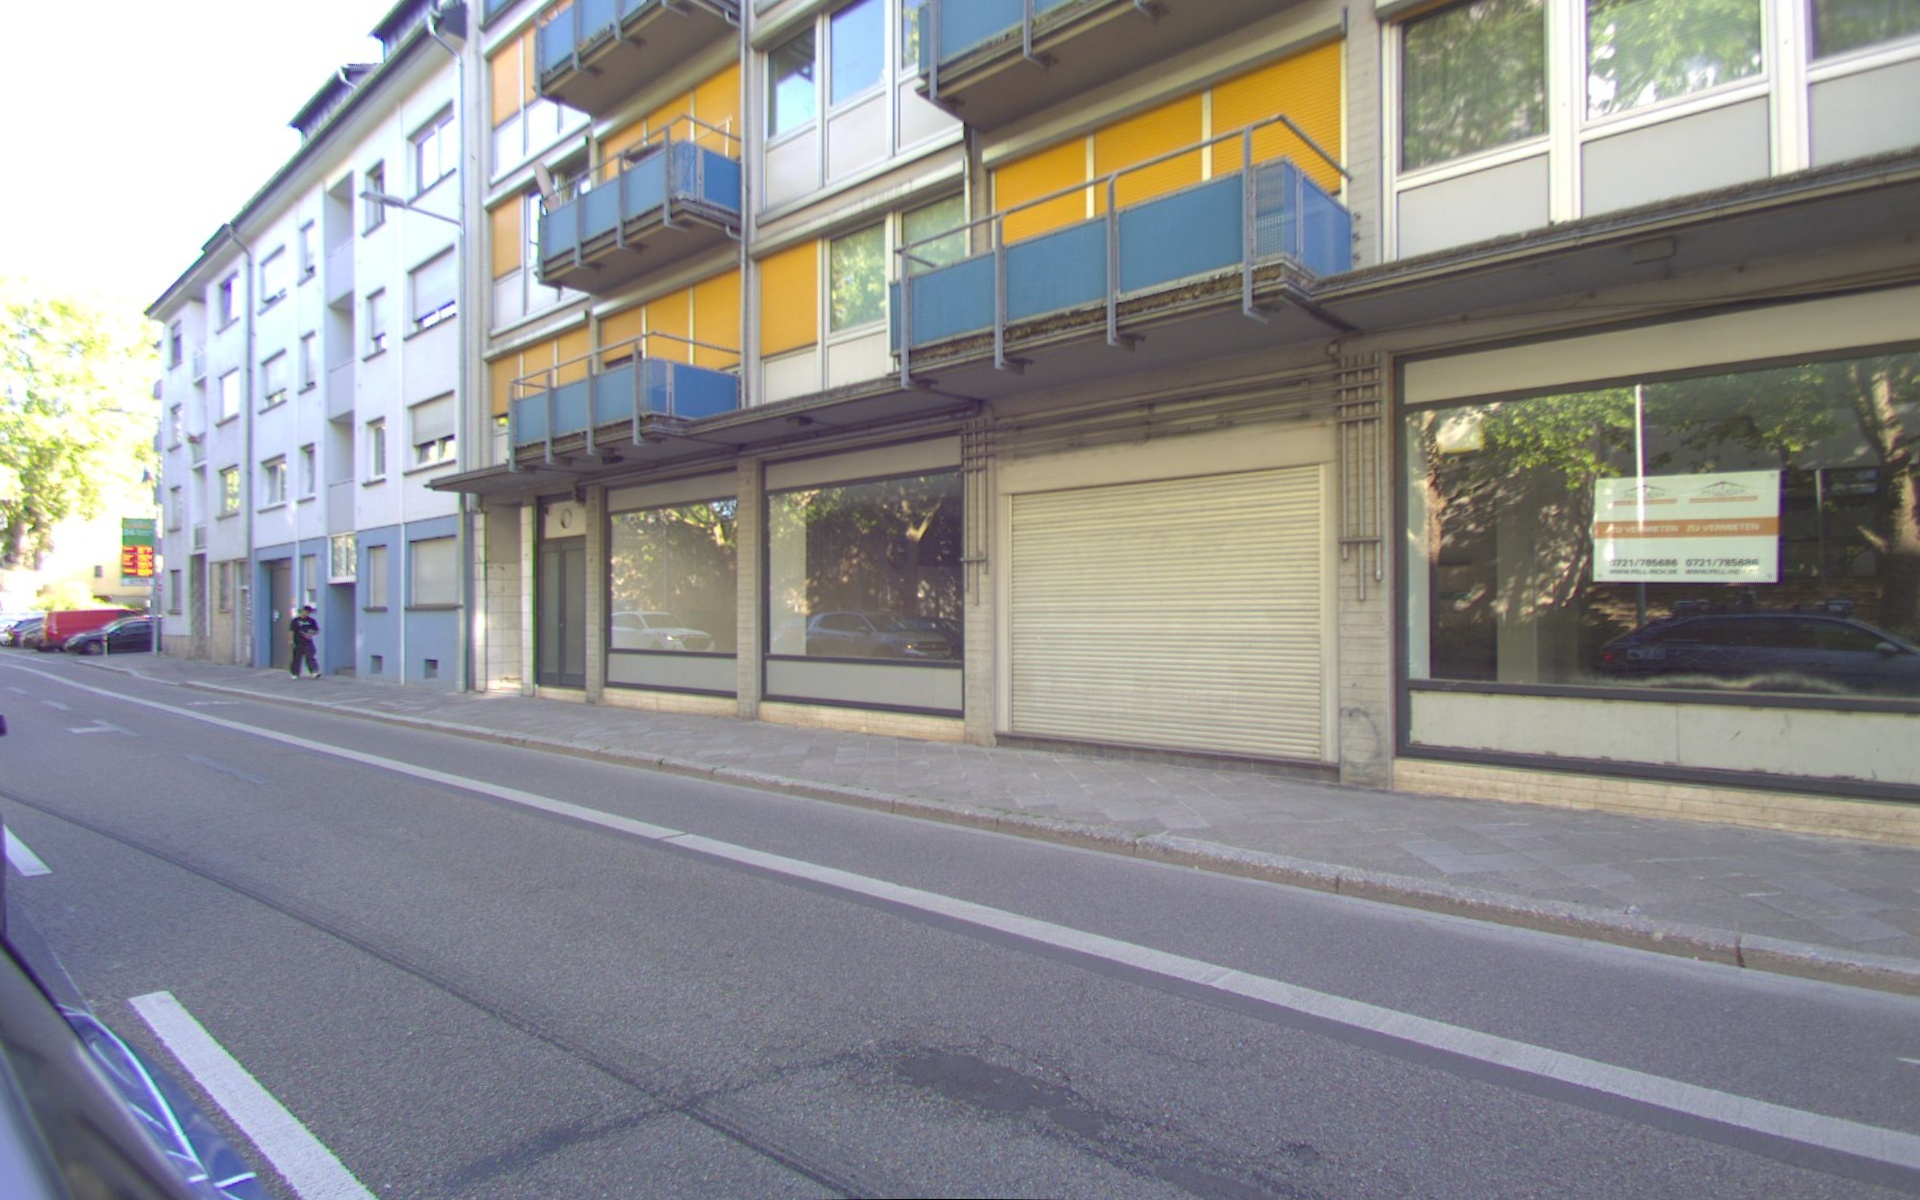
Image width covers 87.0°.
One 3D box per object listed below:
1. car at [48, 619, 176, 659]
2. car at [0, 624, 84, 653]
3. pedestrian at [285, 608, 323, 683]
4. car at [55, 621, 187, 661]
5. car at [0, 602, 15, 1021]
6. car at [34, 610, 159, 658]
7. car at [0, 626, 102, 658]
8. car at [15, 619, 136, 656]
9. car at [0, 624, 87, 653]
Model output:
[{"bbox_3d":[-38.196,1.725,45.665,1.652,1.480,4.201,-1,1,41],"label":"car"},{"bbox_3d":[-55.887,2.292,61.206,1.652,1.480,4.201,-1,1,41],"label":"car"},{"bbox_3d":[-15.284,1.053,23.574,0.655,1.708,0.604,-2,-1,41],"label":"pedestrian"},{"bbox_3d":[-36.503,1.738,44.101,1.652,1.411,4.201,-1,1,41],"label":"car"},{"bbox_3d":[-5.652,0.796,4.412,4.300,1.510,1.826,-1,-1,41],"label":"car"},{"bbox_3d":[-40.577,1.553,47.627,1.817,1.933,4.202,-1,1,40],"label":"car"},{"bbox_3d":[-50.473,2.286,56.113,1.652,1.480,4.201,-1,1,41],"label":"car"},{"bbox_3d":[-42.765,1.784,49.022,1.652,1.480,4.201,-1,1,41],"label":"car"},{"bbox_3d":[-54.505,2.272,59.798,1.652,1.480,4.201,-1,1,41],"label":"car"}]
